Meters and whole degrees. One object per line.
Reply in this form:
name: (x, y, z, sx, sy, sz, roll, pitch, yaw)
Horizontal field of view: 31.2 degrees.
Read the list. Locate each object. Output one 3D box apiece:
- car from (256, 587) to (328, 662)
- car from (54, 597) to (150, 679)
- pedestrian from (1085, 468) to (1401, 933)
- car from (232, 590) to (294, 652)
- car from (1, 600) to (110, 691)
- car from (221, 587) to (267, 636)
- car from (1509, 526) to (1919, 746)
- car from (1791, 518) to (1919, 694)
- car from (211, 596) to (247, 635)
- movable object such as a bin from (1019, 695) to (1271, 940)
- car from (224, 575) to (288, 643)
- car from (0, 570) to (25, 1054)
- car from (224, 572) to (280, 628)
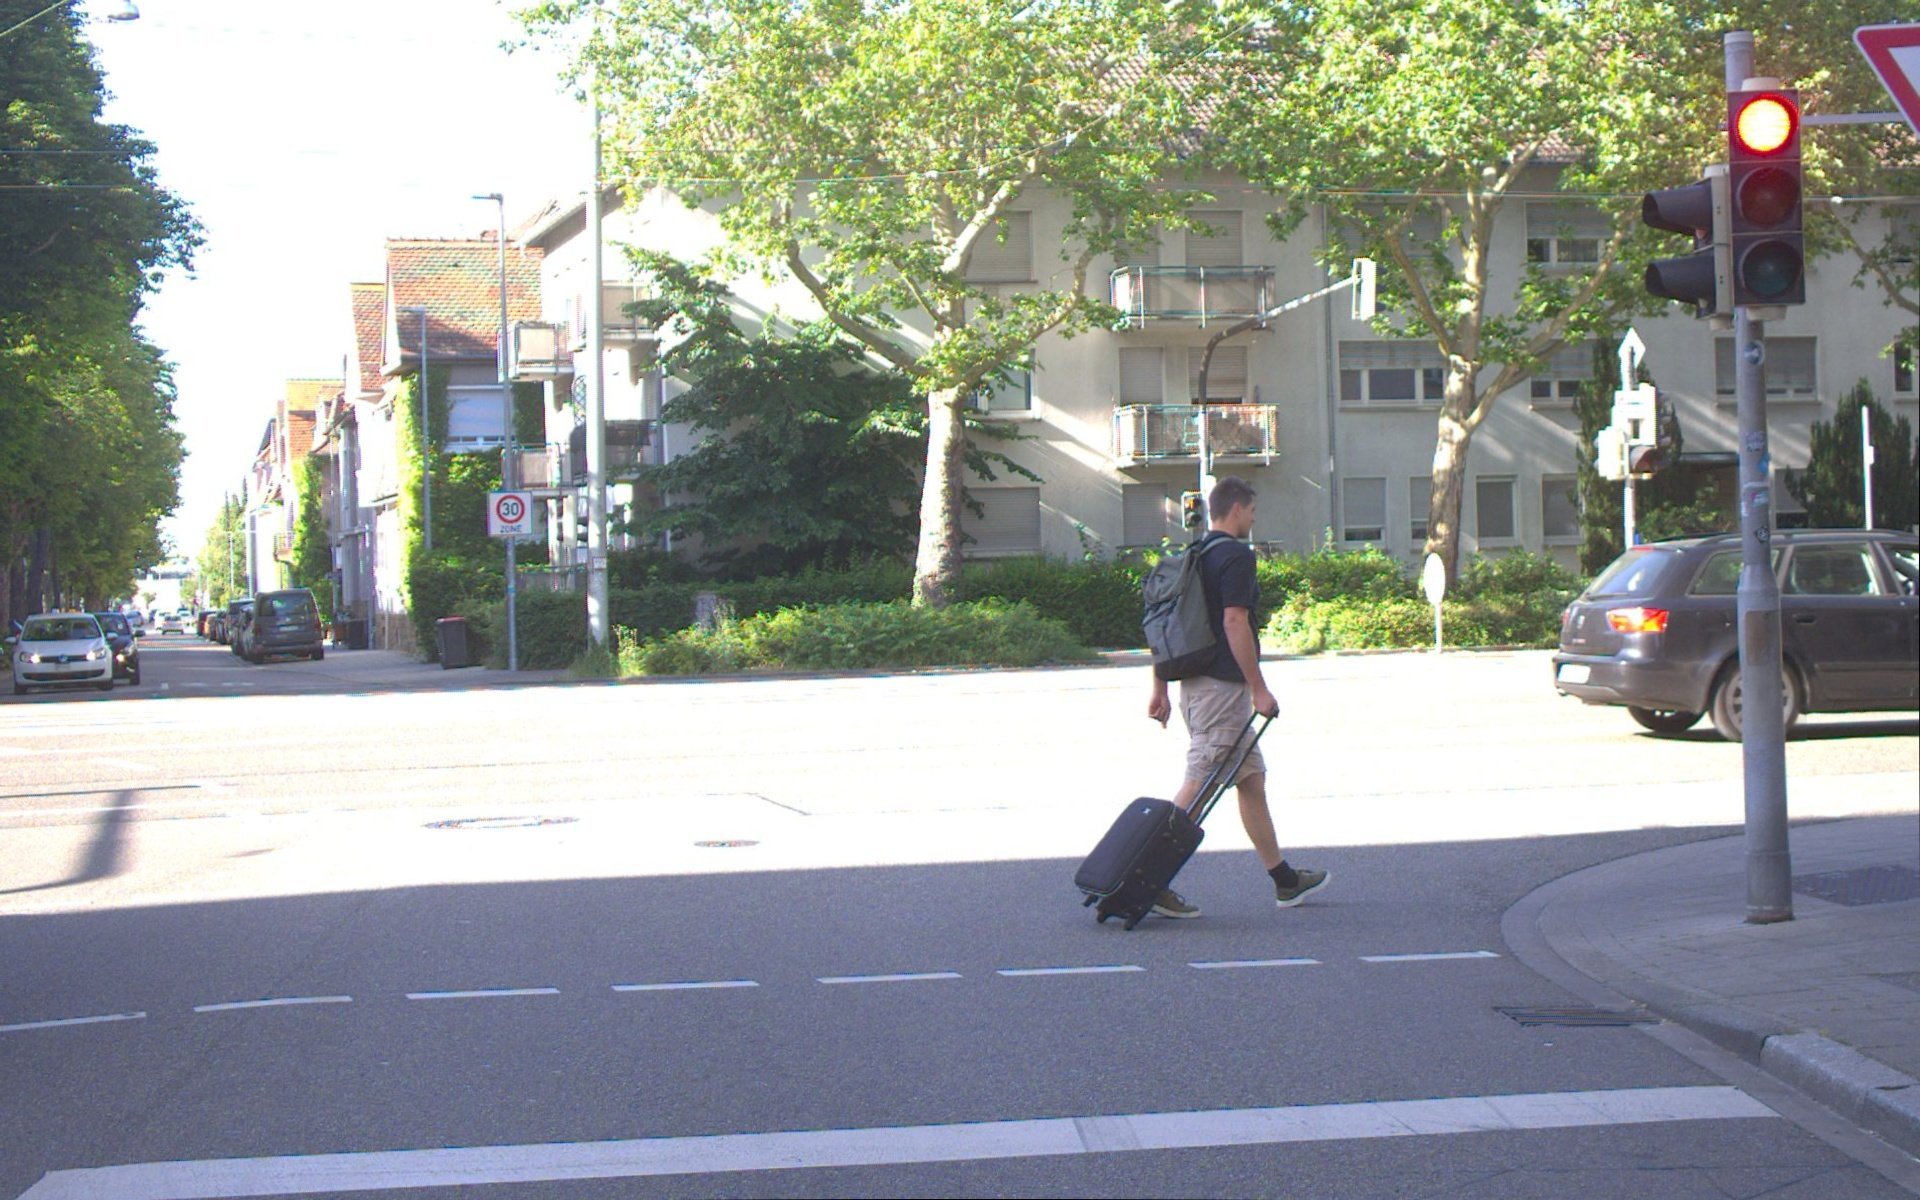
car: (-18.380, 0.654, 94.534, 1.772, 1.912, 3.535, -3, 1, -12)
car: (-17.335, 0.744, 69.595, 1.698, 1.478, 3.535, -3, 1, -12)
pedestrian: (1.156, 0.389, 14.145, 1.065, 1.842, 0.749, -1, 1, -20)
car: (-23.466, 0.691, 115.788, 1.993, 2.007, 4.001, 1, 1, -11)
car: (-16.642, 0.812, 63.363, 1.698, 1.478, 3.535, -3, 1, -12)
car: (-30.515, 0.480, 146.446, 1.772, 1.912, 3.535, -3, 1, -12)
car: (6.423, 0.209, 24.523, 4.616, 1.451, 1.731, -1, 1, -9)
car: (9.854, -0.028, 30.019, 4.616, 1.451, 1.982, -2, 1, -13)
car: (-38.448, 0.806, 180.828, 1.772, 1.912, 3.535, -3, 1, -12)
movable object such as a bin: (0.726, 0.848, 13.597, 0.861, 0.889, 0.509, -2, 1, -13)
car: (-21.443, 0.262, 104.649, 1.772, 1.912, 3.535, -3, 1, -12)
car: (-5.210, 0.645, 11.867, 2.073, 1.688, 4.707, -3, 1, -38)
car: (-26.289, -0.009, 127.750, 1.993, 2.007, 4.001, 1, 1, -11)
